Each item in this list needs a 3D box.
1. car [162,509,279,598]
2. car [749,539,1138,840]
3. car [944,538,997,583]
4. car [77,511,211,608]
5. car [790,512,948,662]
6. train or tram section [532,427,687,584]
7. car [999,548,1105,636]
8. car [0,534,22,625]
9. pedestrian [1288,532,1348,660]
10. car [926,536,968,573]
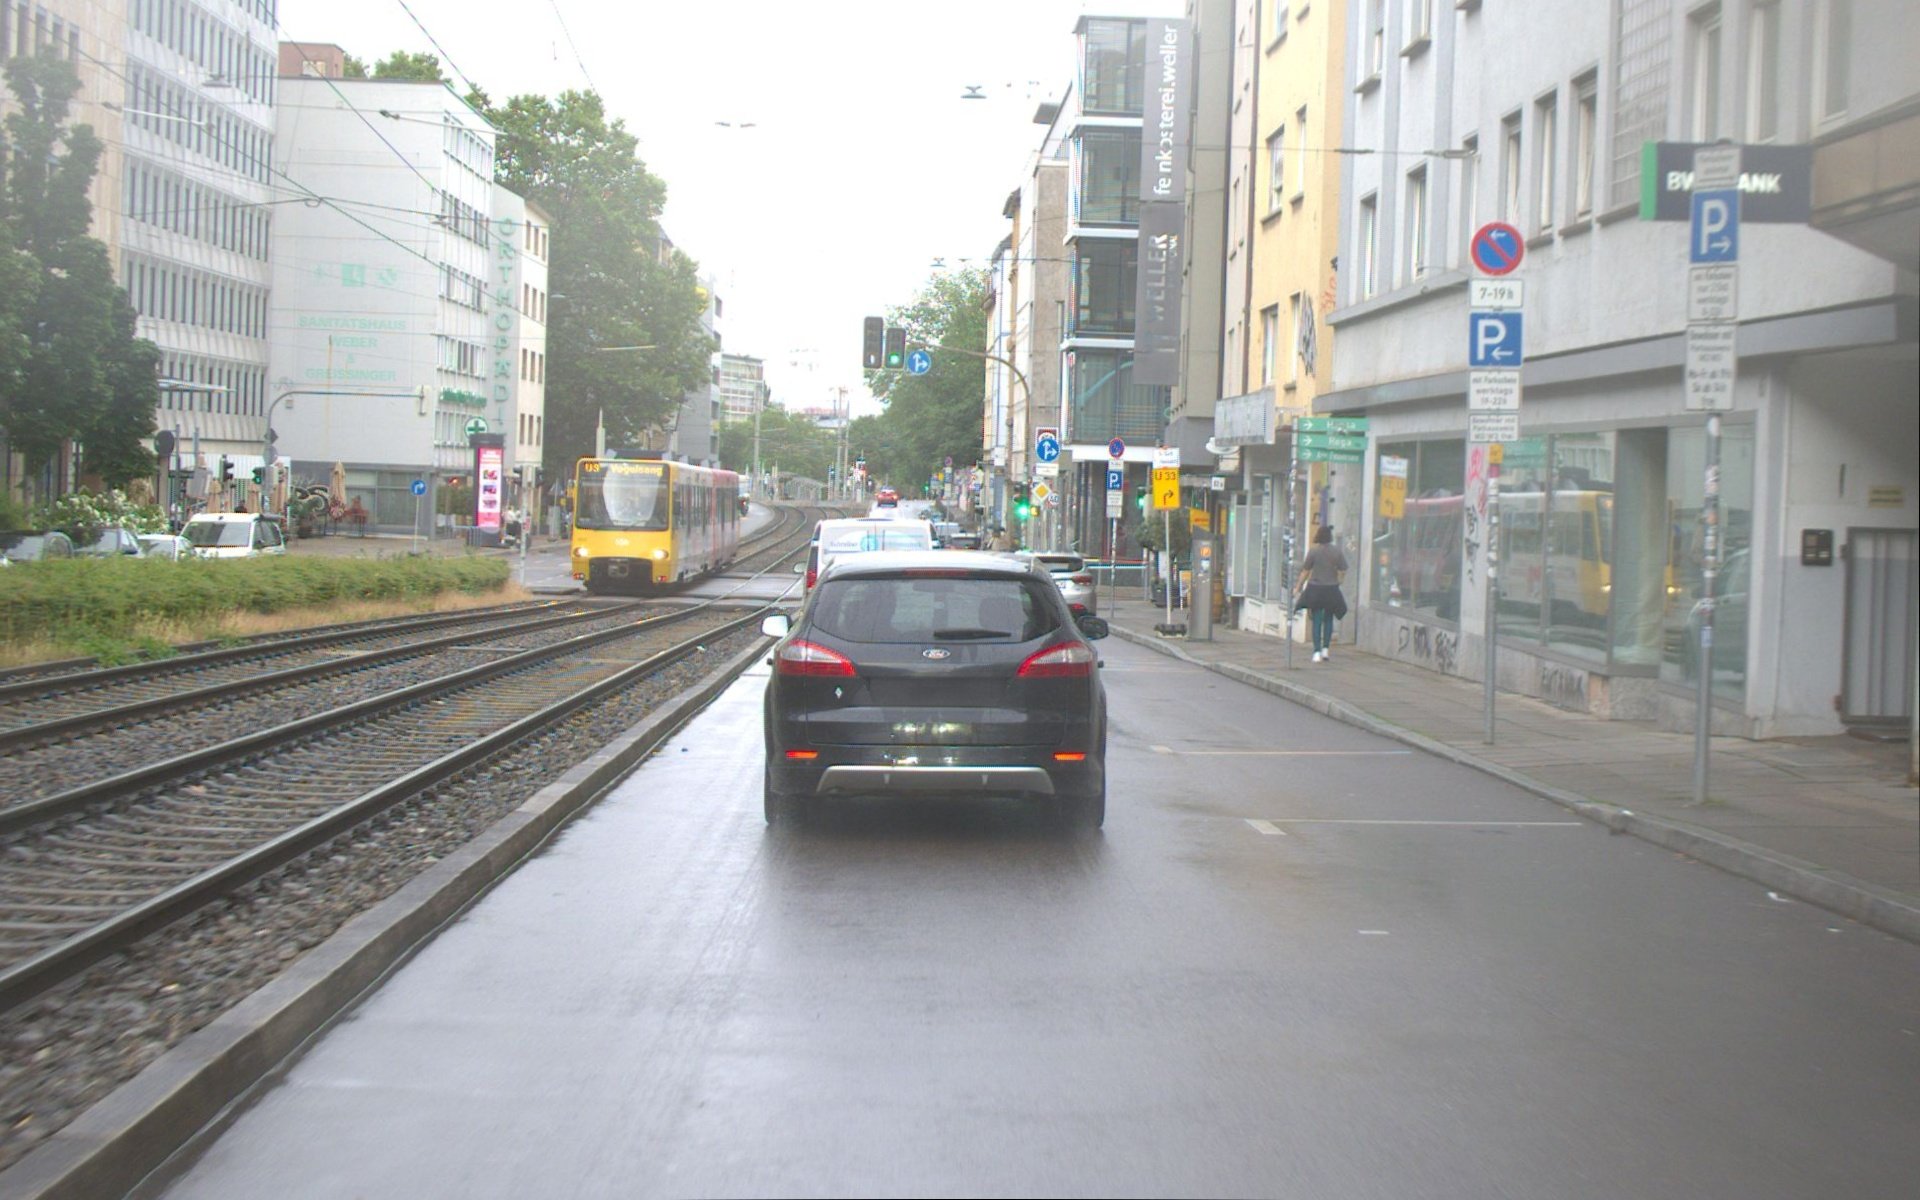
[{"bbox_3d":[-16.443,-1.009,76.623,1.906,1.858,4.574,2,0,-4],"label":"car"},{"bbox_3d":[-0.103,0.447,18.927,1.906,1.457,3.445,2,0,-1],"label":"car"},{"bbox_3d":[0.376,-1.478,129.566,1.906,1.628,4.574,2,0,0],"label":"car"},{"bbox_3d":[-16.524,-0.806,69.807,1.906,1.858,4.574,2,0,-4],"label":"car"},{"bbox_3d":[-1.164,-0.169,45.940,1.906,1.858,4.574,2,0,0],"label":"car"},{"bbox_3d":[-9.020,-2.389,89.751,3.512,3.764,11.333,1,1,-4],"label":"train or tram section"},{"bbox_3d":[1.778,-0.159,67.783,1.906,1.628,4.574,2,0,0],"label":"car"},{"bbox_3d":[-15.821,-0.326,53.485,1.568,1.431,4.178,1,1,-4],"label":"car"},{"bbox_3d":[4.346,-0.049,41.756,0.611,1.532,0.649,1,0,-2],"label":"pedestrian"},{"bbox_3d":[-0.614,-2.126,161.253,1.906,1.628,4.574,2,0,0],"label":"car"}]
